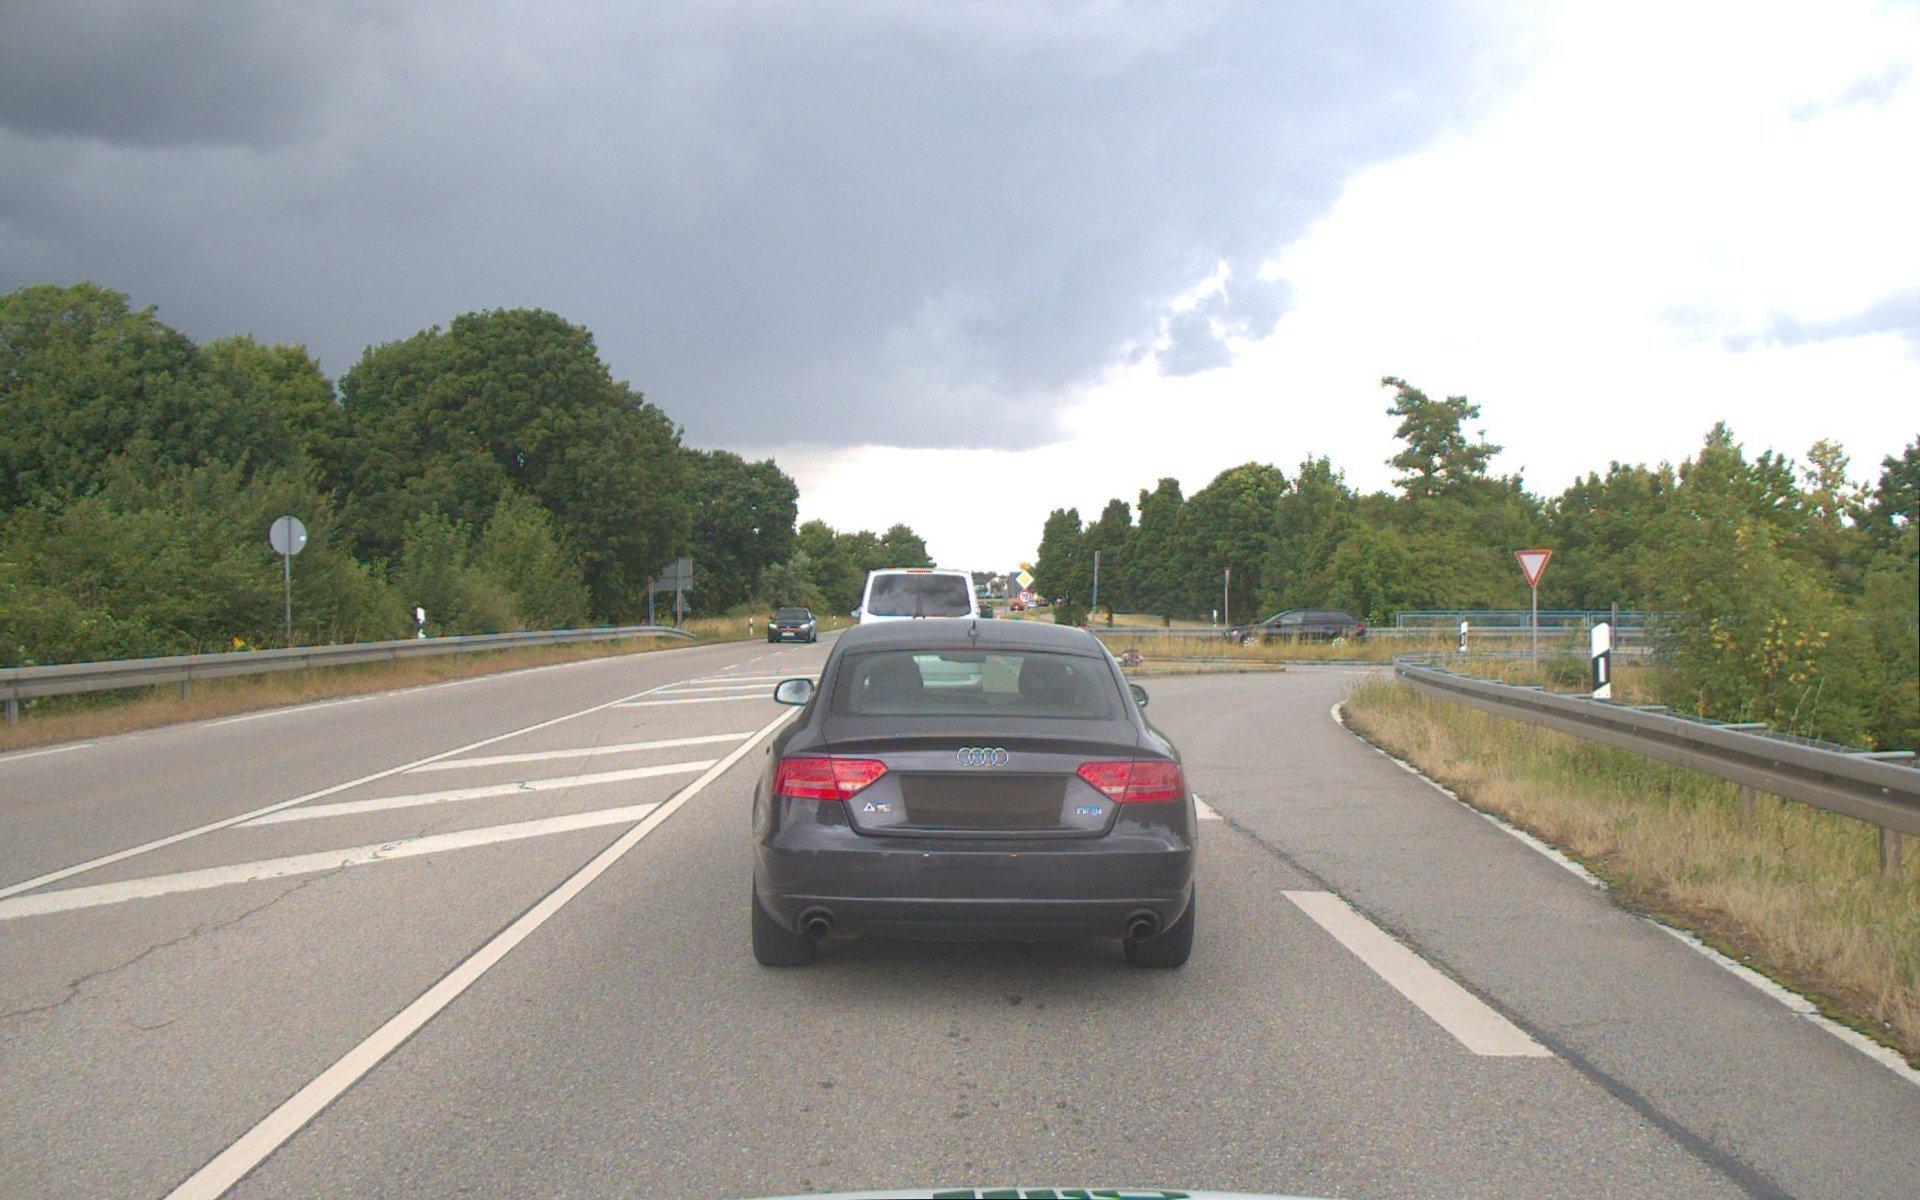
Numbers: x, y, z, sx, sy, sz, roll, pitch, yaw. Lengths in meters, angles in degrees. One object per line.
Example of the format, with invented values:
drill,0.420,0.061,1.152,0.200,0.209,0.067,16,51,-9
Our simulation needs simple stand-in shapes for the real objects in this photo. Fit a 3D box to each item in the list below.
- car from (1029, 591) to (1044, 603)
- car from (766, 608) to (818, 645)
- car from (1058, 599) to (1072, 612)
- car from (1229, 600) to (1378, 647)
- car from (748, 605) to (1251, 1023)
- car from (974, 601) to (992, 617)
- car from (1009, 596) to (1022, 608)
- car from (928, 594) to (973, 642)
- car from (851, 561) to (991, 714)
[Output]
car,10.787,-0.450,233.163,1.952,1.721,4.001,1,0,1
car,-7.042,1.089,69.637,1.760,1.423,3.484,1,0,1
car,14.422,0.748,226.375,1.836,1.721,4.002,1,0,4
car,10.792,0.712,51.967,4.468,1.356,1.703,1,0,16
car,0.090,0.748,7.411,1.744,1.423,3.335,0,0,-2
car,2.640,0.978,188.904,1.952,1.721,4.002,1,0,3
car,8.320,0.347,247.632,1.952,1.721,4.001,1,0,1
car,-0.424,0.815,77.781,2.038,2.101,4.876,1,0,0
car,-0.583,0.497,24.442,1.872,2.049,3.999,1,0,-2
